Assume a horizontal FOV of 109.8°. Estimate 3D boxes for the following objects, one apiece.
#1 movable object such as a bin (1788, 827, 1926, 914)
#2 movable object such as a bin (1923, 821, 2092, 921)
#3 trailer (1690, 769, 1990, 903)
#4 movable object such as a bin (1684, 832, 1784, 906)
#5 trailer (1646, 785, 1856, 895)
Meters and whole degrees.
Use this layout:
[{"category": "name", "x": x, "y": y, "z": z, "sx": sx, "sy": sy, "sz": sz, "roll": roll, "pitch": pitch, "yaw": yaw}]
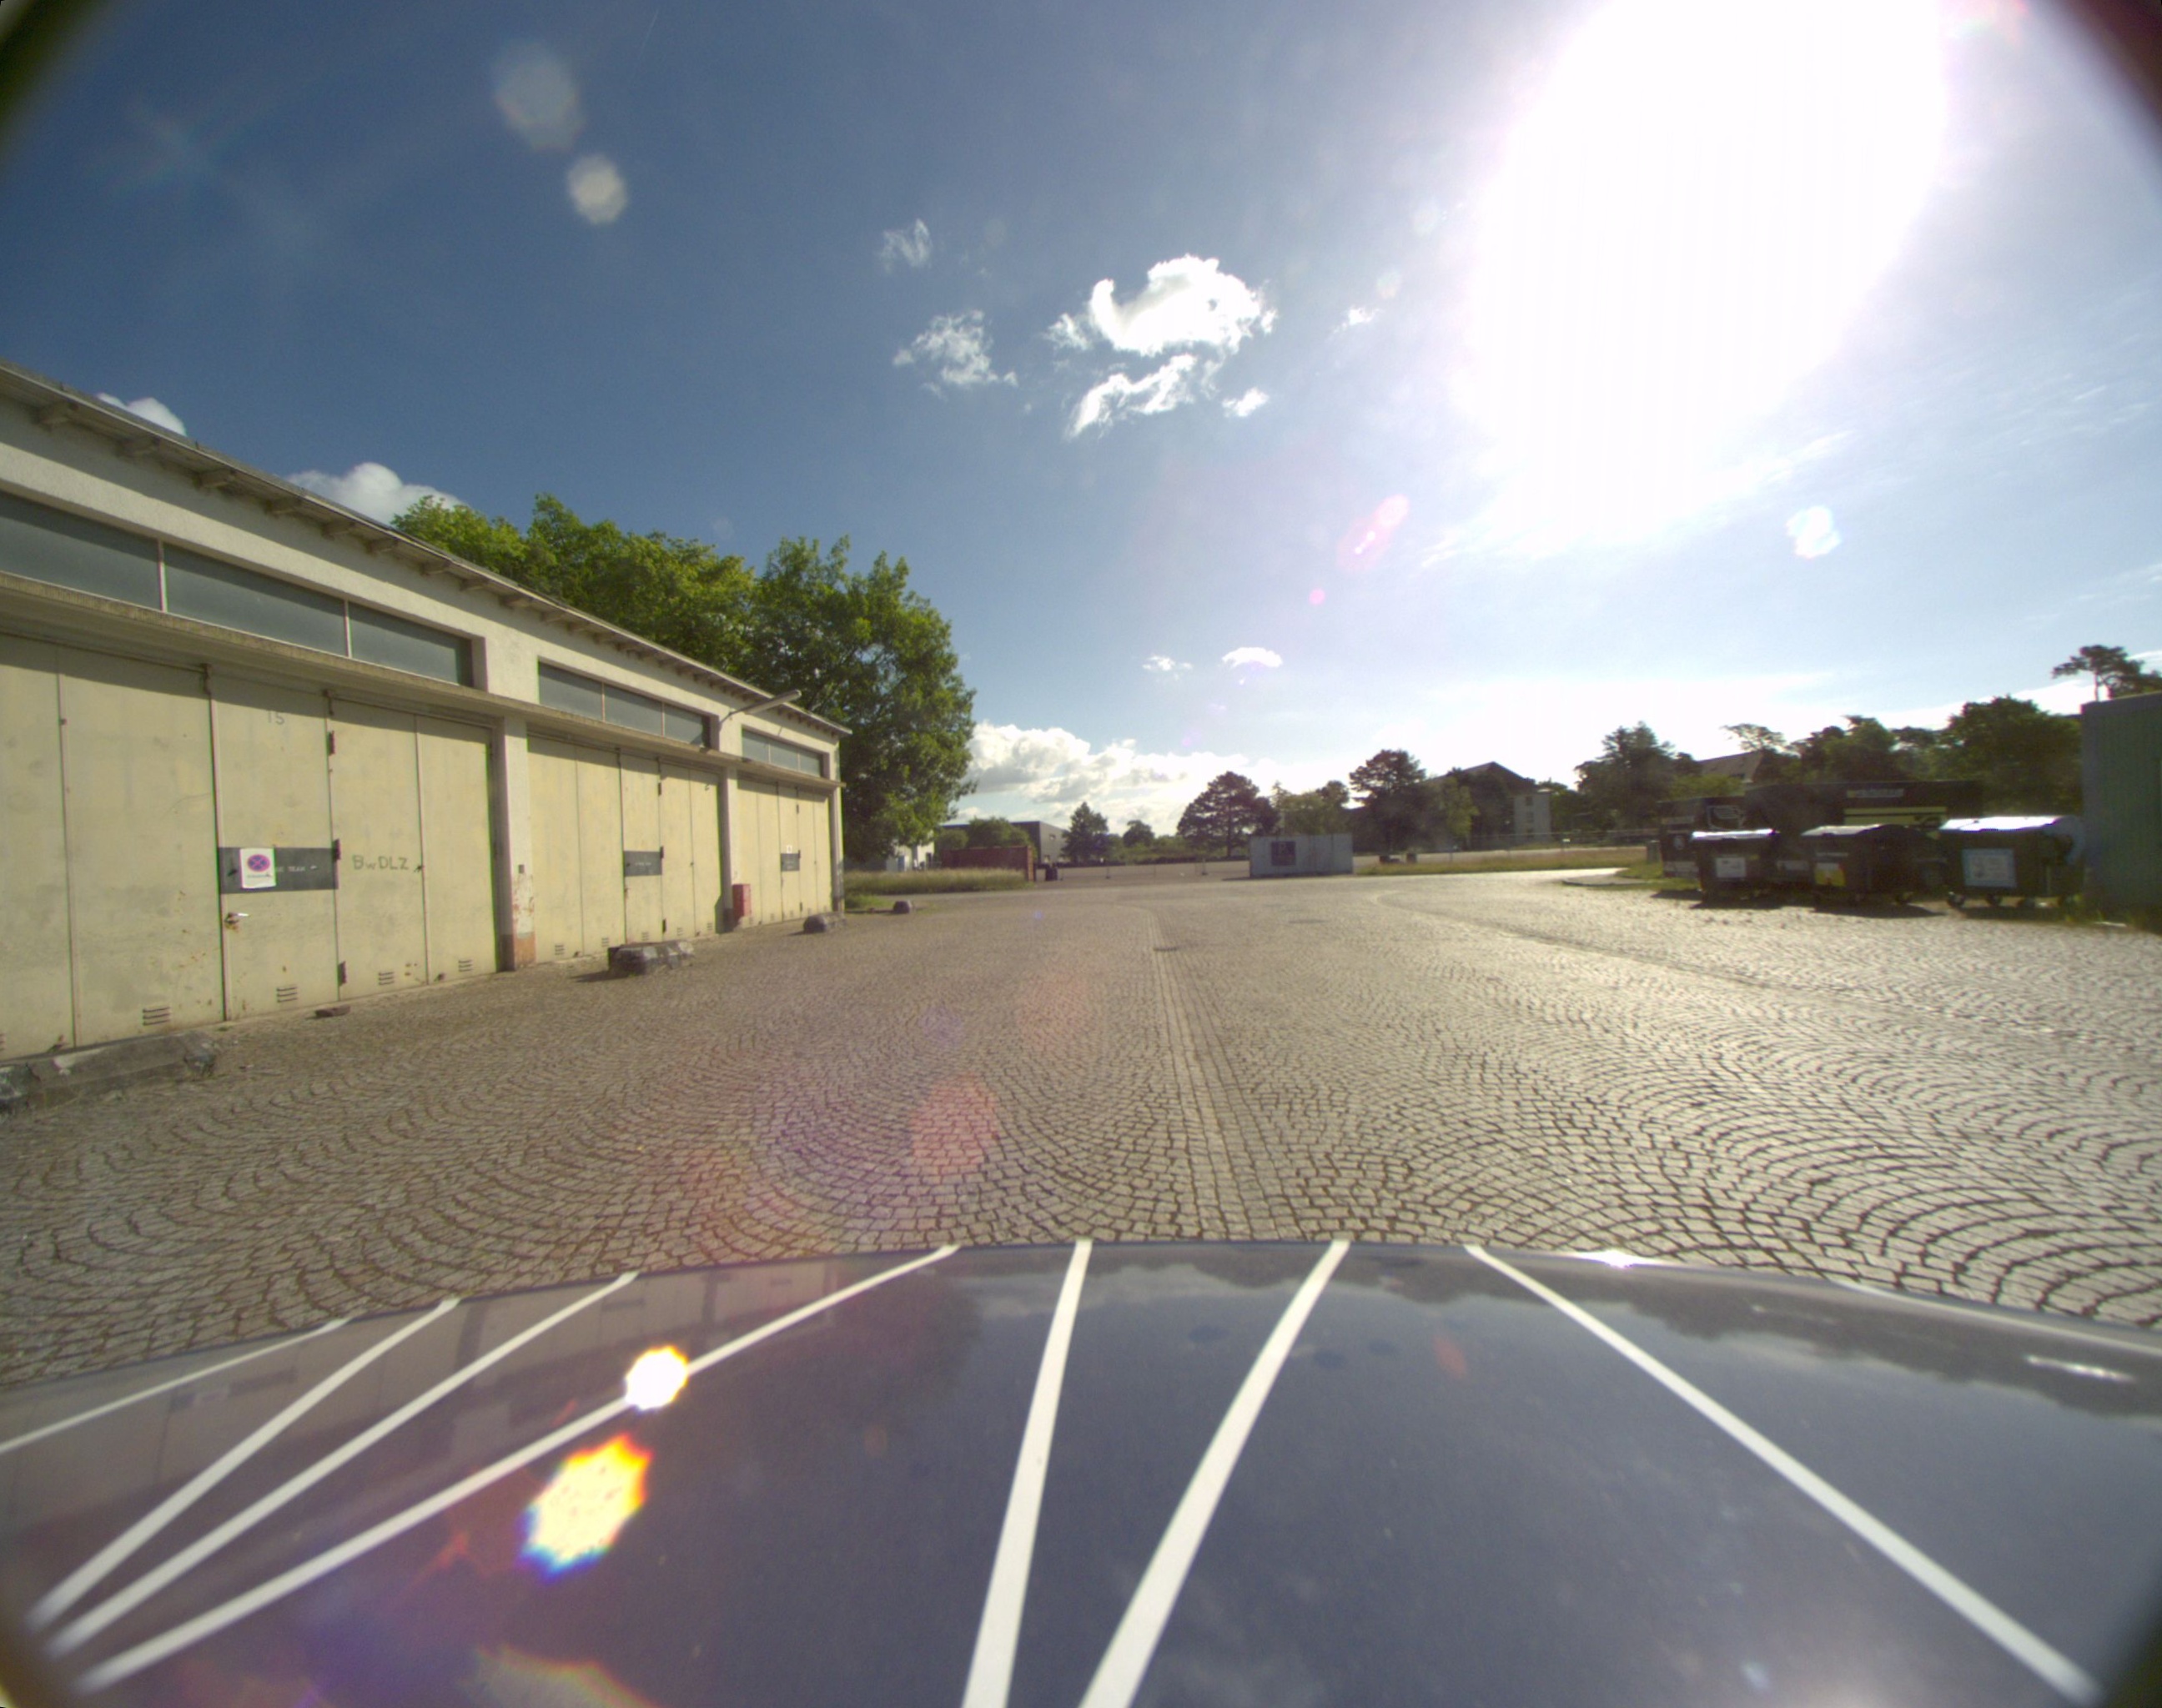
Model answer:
[{"category": "movable object such as a bin", "x": 14.075, "y": 0.285, "z": 13.843, "sx": 1.020, "sy": 1.449, "sz": 1.441, "roll": -3, "pitch": 1, "yaw": 4}, {"category": "movable object such as a bin", "x": 14.699, "y": 0.254, "z": 12.113, "sx": 0.885, "sy": 1.449, "sz": 1.439, "roll": -3, "pitch": 1, "yaw": -6}, {"category": "trailer", "x": 16.700, "y": -0.380, "z": 16.913, "sx": 4.648, "sy": 2.553, "sz": 1.951, "roll": -3, "pitch": 1, "yaw": 0}, {"category": "movable object such as a bin", "x": 13.738, "y": 0.308, "z": 15.986, "sx": 1.158, "sy": 1.449, "sz": 1.435, "roll": -4, "pitch": 1, "yaw": -43}, {"category": "trailer", "x": 16.911, "y": -0.343, "z": 19.356, "sx": 3.392, "sy": 2.455, "sz": 2.045, "roll": -3, "pitch": 1, "yaw": 5}]
